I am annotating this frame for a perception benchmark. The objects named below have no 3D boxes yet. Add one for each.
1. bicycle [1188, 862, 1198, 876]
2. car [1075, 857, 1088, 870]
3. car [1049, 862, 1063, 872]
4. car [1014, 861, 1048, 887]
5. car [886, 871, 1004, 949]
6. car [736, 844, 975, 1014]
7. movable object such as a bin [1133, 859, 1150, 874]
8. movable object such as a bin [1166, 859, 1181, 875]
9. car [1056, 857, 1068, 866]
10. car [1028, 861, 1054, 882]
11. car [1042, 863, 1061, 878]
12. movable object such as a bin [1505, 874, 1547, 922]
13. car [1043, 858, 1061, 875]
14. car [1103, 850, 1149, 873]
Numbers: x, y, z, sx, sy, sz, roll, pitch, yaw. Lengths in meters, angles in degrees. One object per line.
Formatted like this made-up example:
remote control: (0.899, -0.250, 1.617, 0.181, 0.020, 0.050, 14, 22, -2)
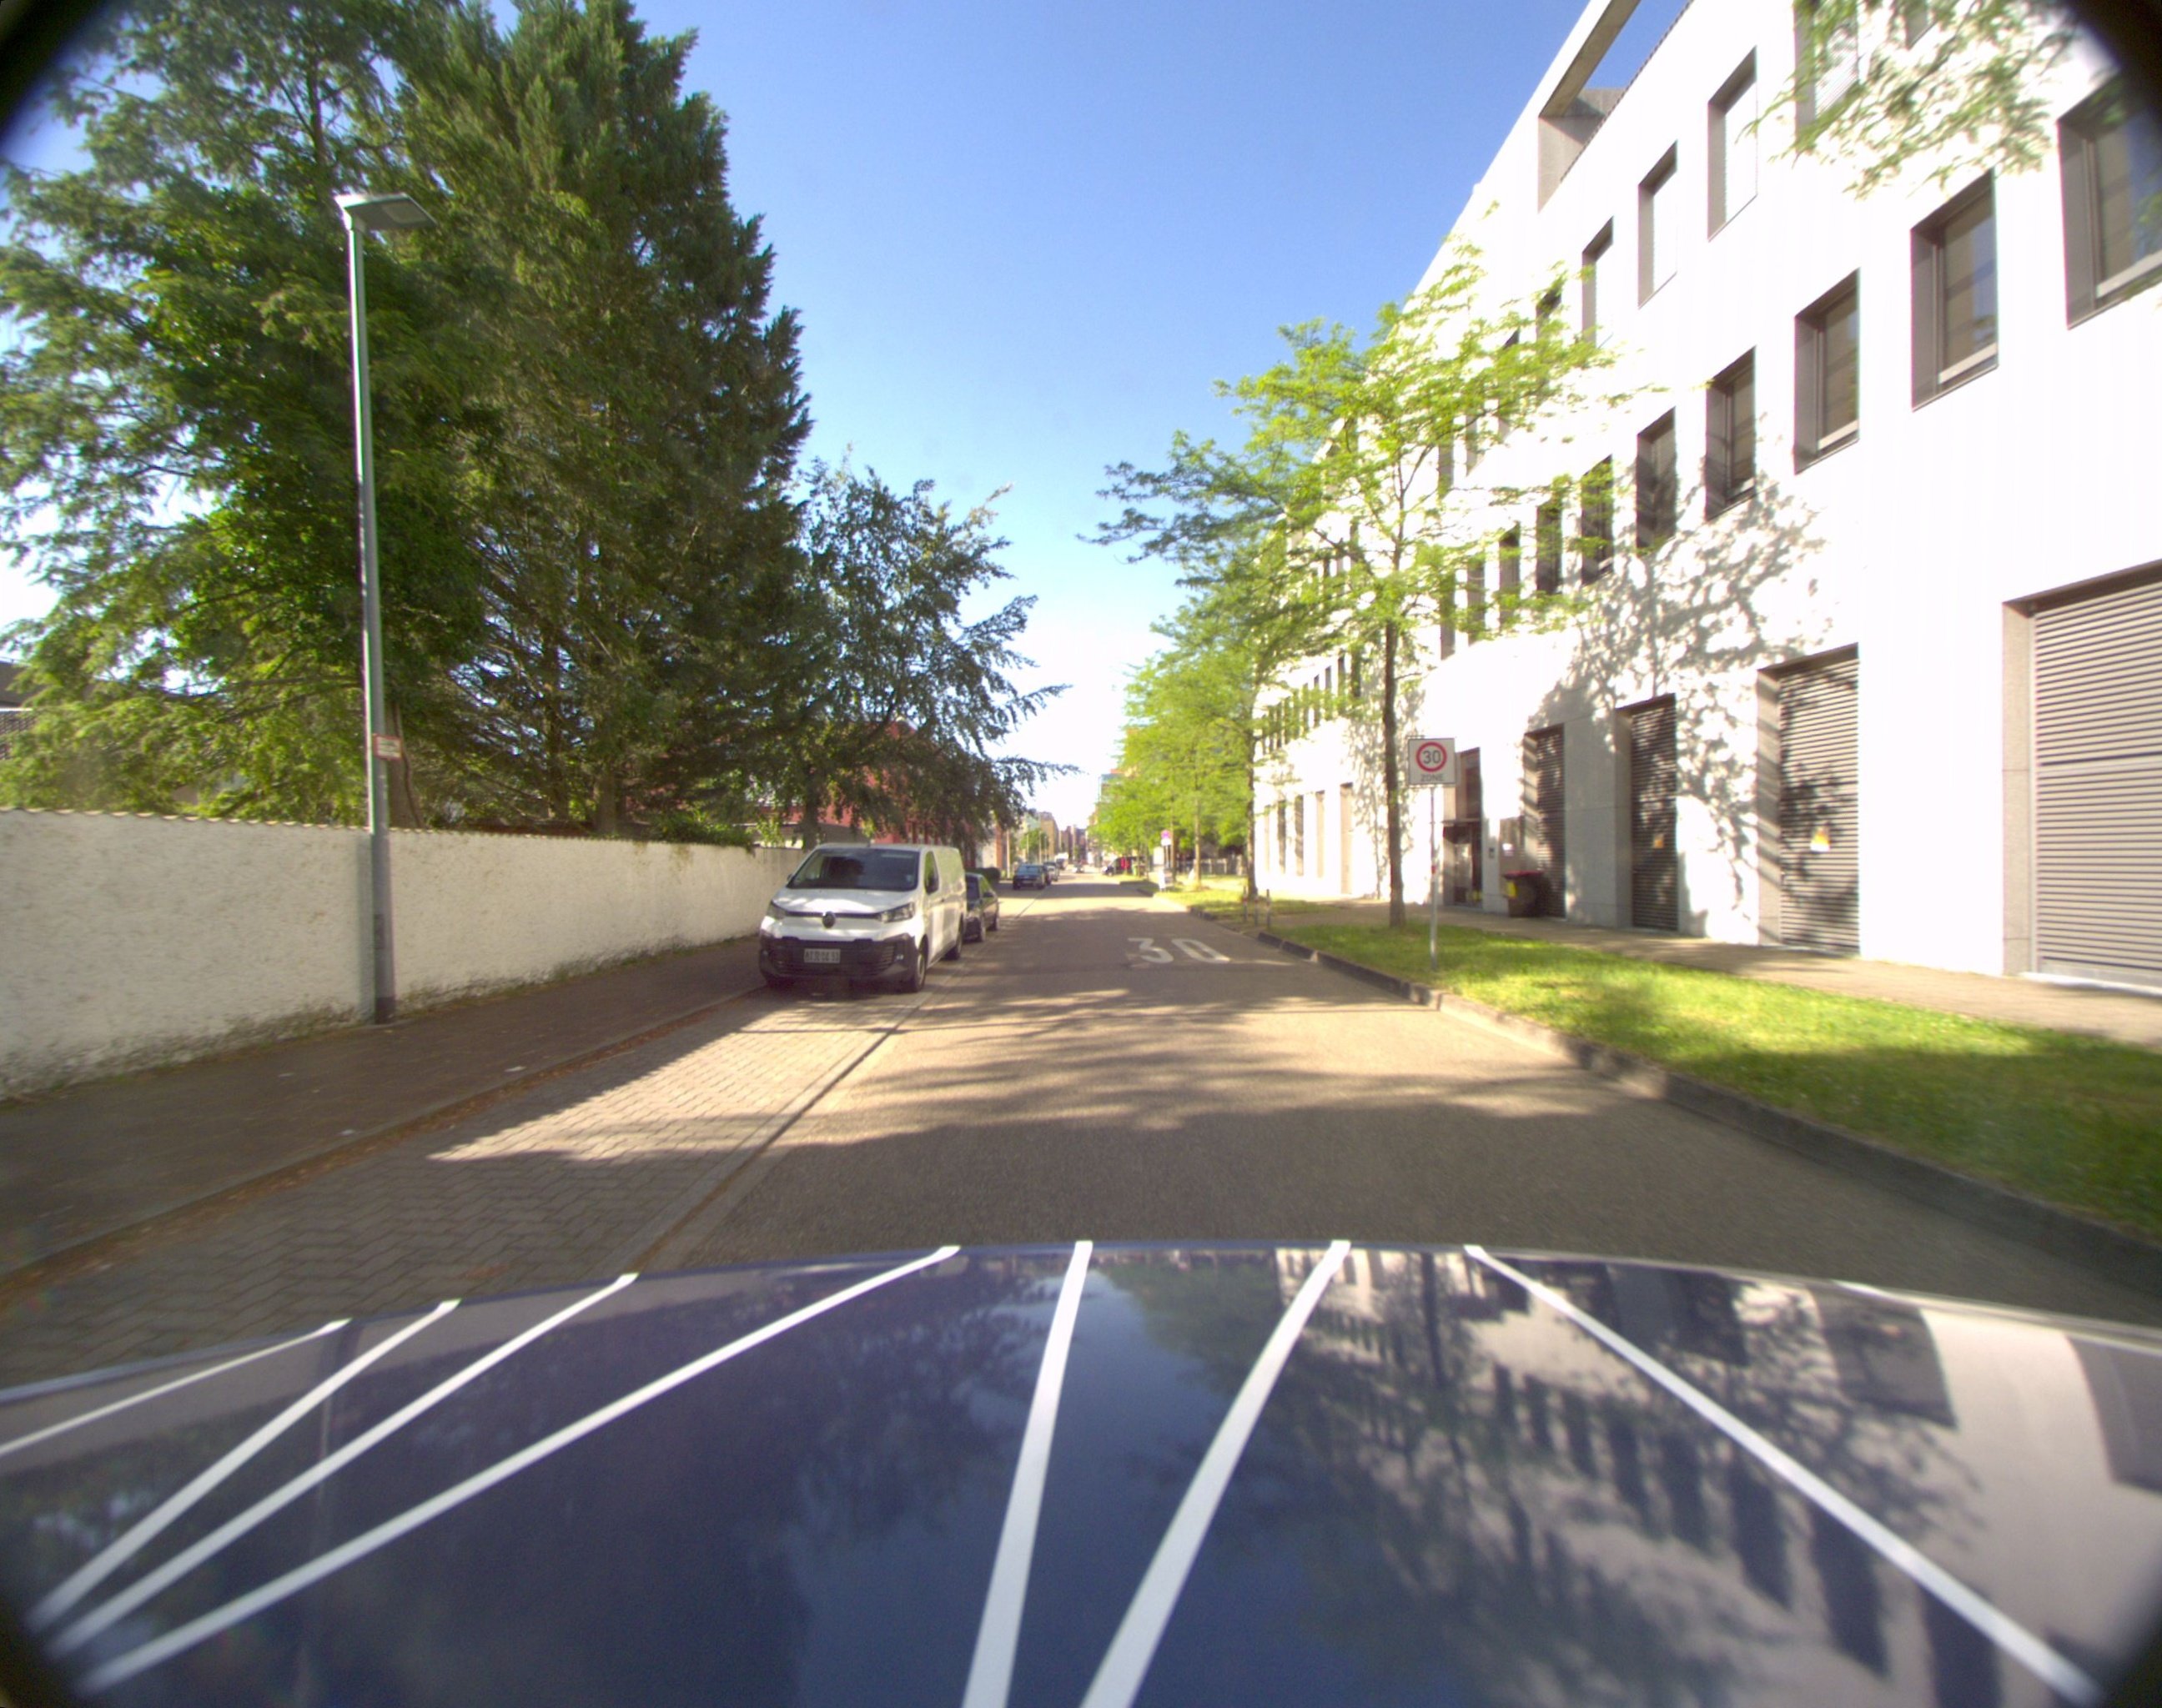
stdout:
bicycle: (9.665, 1.287, 65.793, 0.602, 1.185, 1.728, -2, 0, 0)
car: (0.093, 1.385, 117.636, 1.903, 1.974, 4.372, 0, 0, 0)
car: (-3.476, 1.798, 106.986, 1.777, 1.281, 4.095, 0, 0, 0)
car: (-3.224, 1.275, 49.599, 1.903, 1.620, 4.372, 0, 0, 0)
car: (-2.852, 1.136, 16.880, 1.830, 1.415, 4.283, 0, 0, 0)
car: (-2.875, 0.851, 11.062, 1.903, 1.903, 5.148, 0, 0, 0)
movable object such as a bin: (6.797, 1.390, 85.624, 1.524, 1.559, 1.345, -2, 0, -10)
movable object such as a bin: (9.638, 1.320, 79.173, 1.522, 1.559, 1.347, -2, 0, 5)
car: (-3.347, 1.333, 133.150, 1.903, 1.585, 4.372, 0, 0, 0)
car: (-3.188, 1.359, 61.166, 1.878, 1.620, 4.406, 0, 0, 0)
car: (-2.936, 1.598, 75.558, 1.699, 1.447, 3.890, 0, 0, 0)
movable object such as a bin: (9.964, 0.969, 17.037, 0.594, 1.034, 0.543, -2, 0, -2)
car: (-3.485, 1.455, 91.564, 1.903, 1.974, 4.372, 0, 0, 0)
car: (5.538, 0.922, 94.722, 5.490, 2.526, 1.986, -3, 0, -1)
